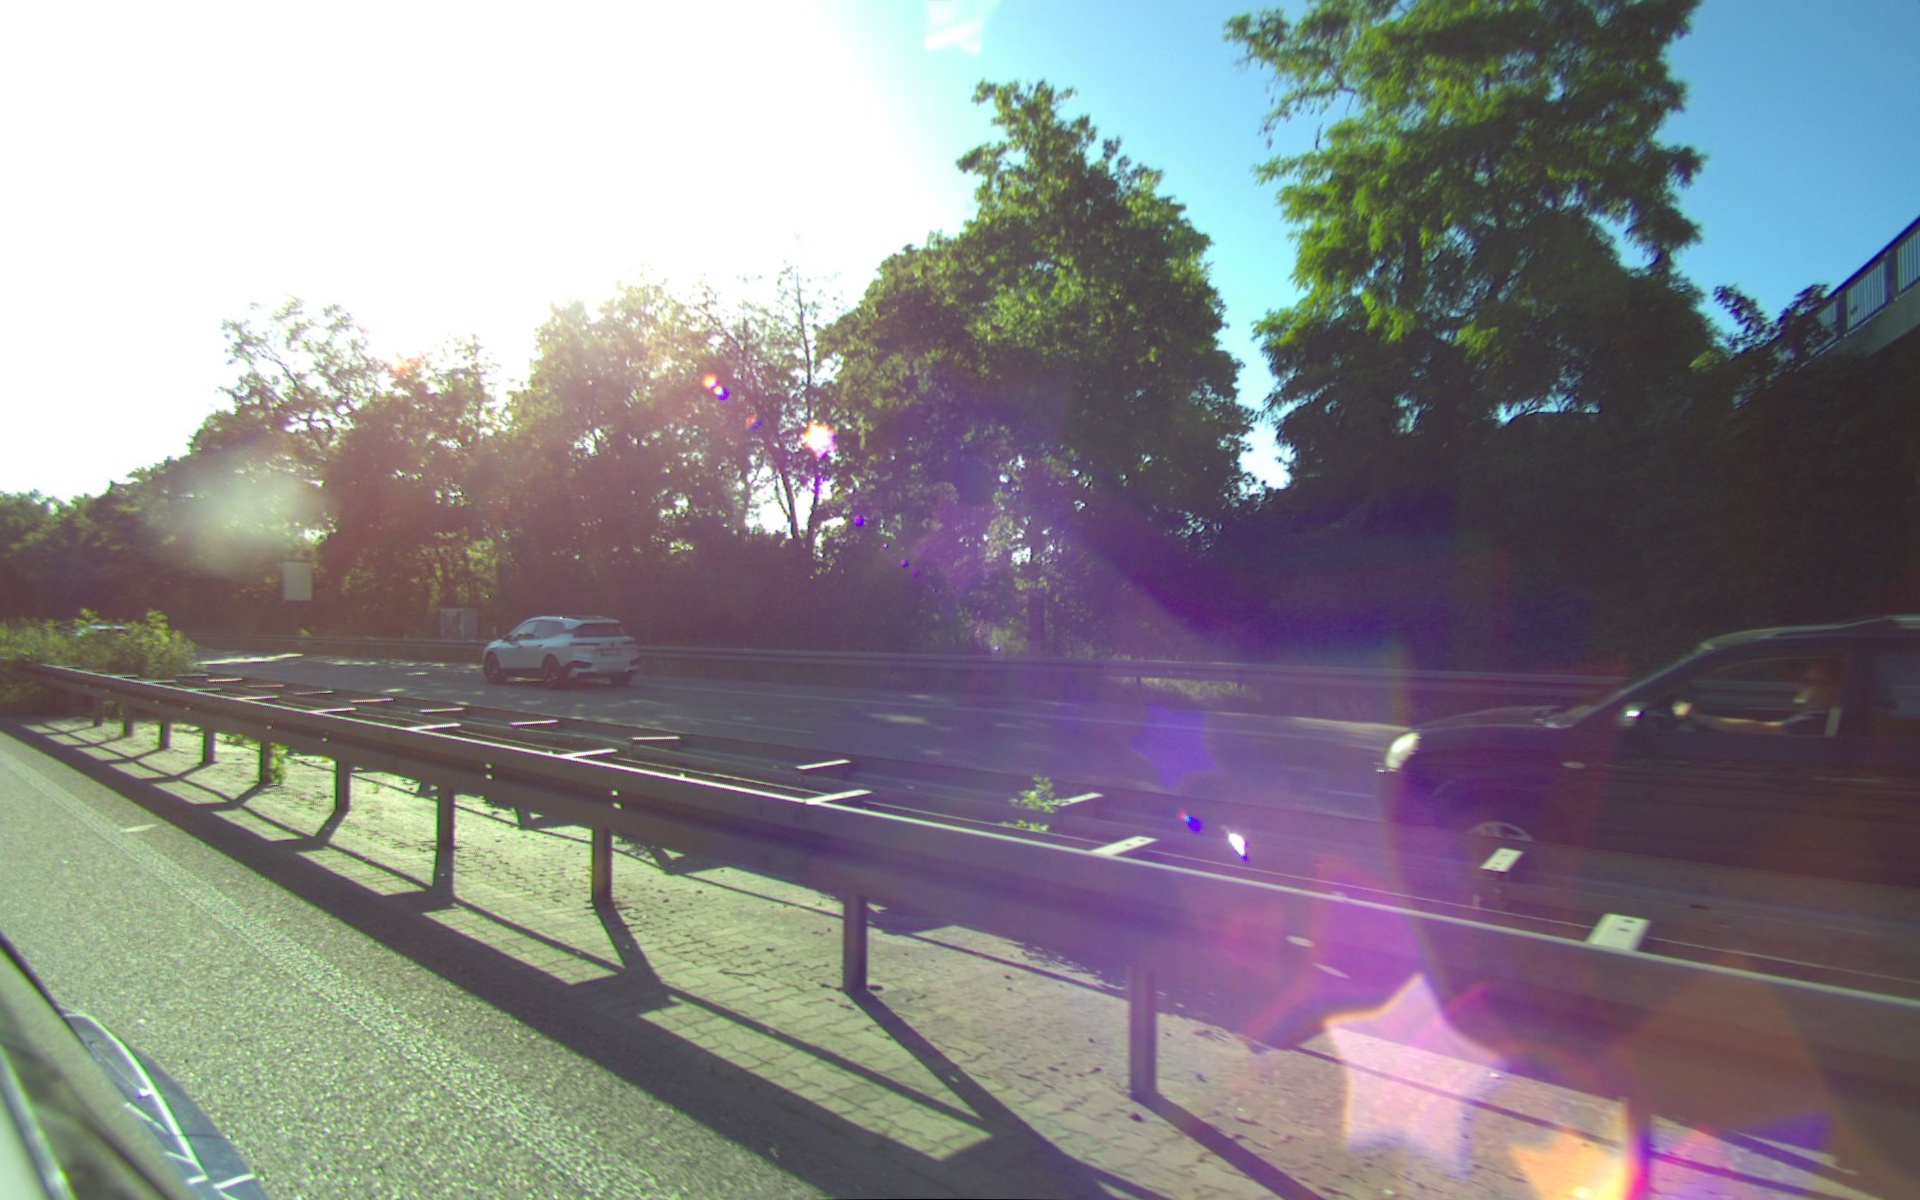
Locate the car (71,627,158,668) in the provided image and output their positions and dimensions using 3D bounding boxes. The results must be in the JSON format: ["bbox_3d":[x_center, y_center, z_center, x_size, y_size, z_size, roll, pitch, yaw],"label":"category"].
[{"bbox_3d":[-33.063,1.798,39.544,4.781,1.500,1.833,-1,-2,40],"label":"car"}]

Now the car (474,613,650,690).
[{"bbox_3d":[-9.792,1.193,24.677,5.038,1.672,1.940,-1,-1,42],"label":"car"}]

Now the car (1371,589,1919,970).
[{"bbox_3d":[4.892,0.835,5.455,4.589,1.737,1.940,-1,-2,41],"label":"car"}]
